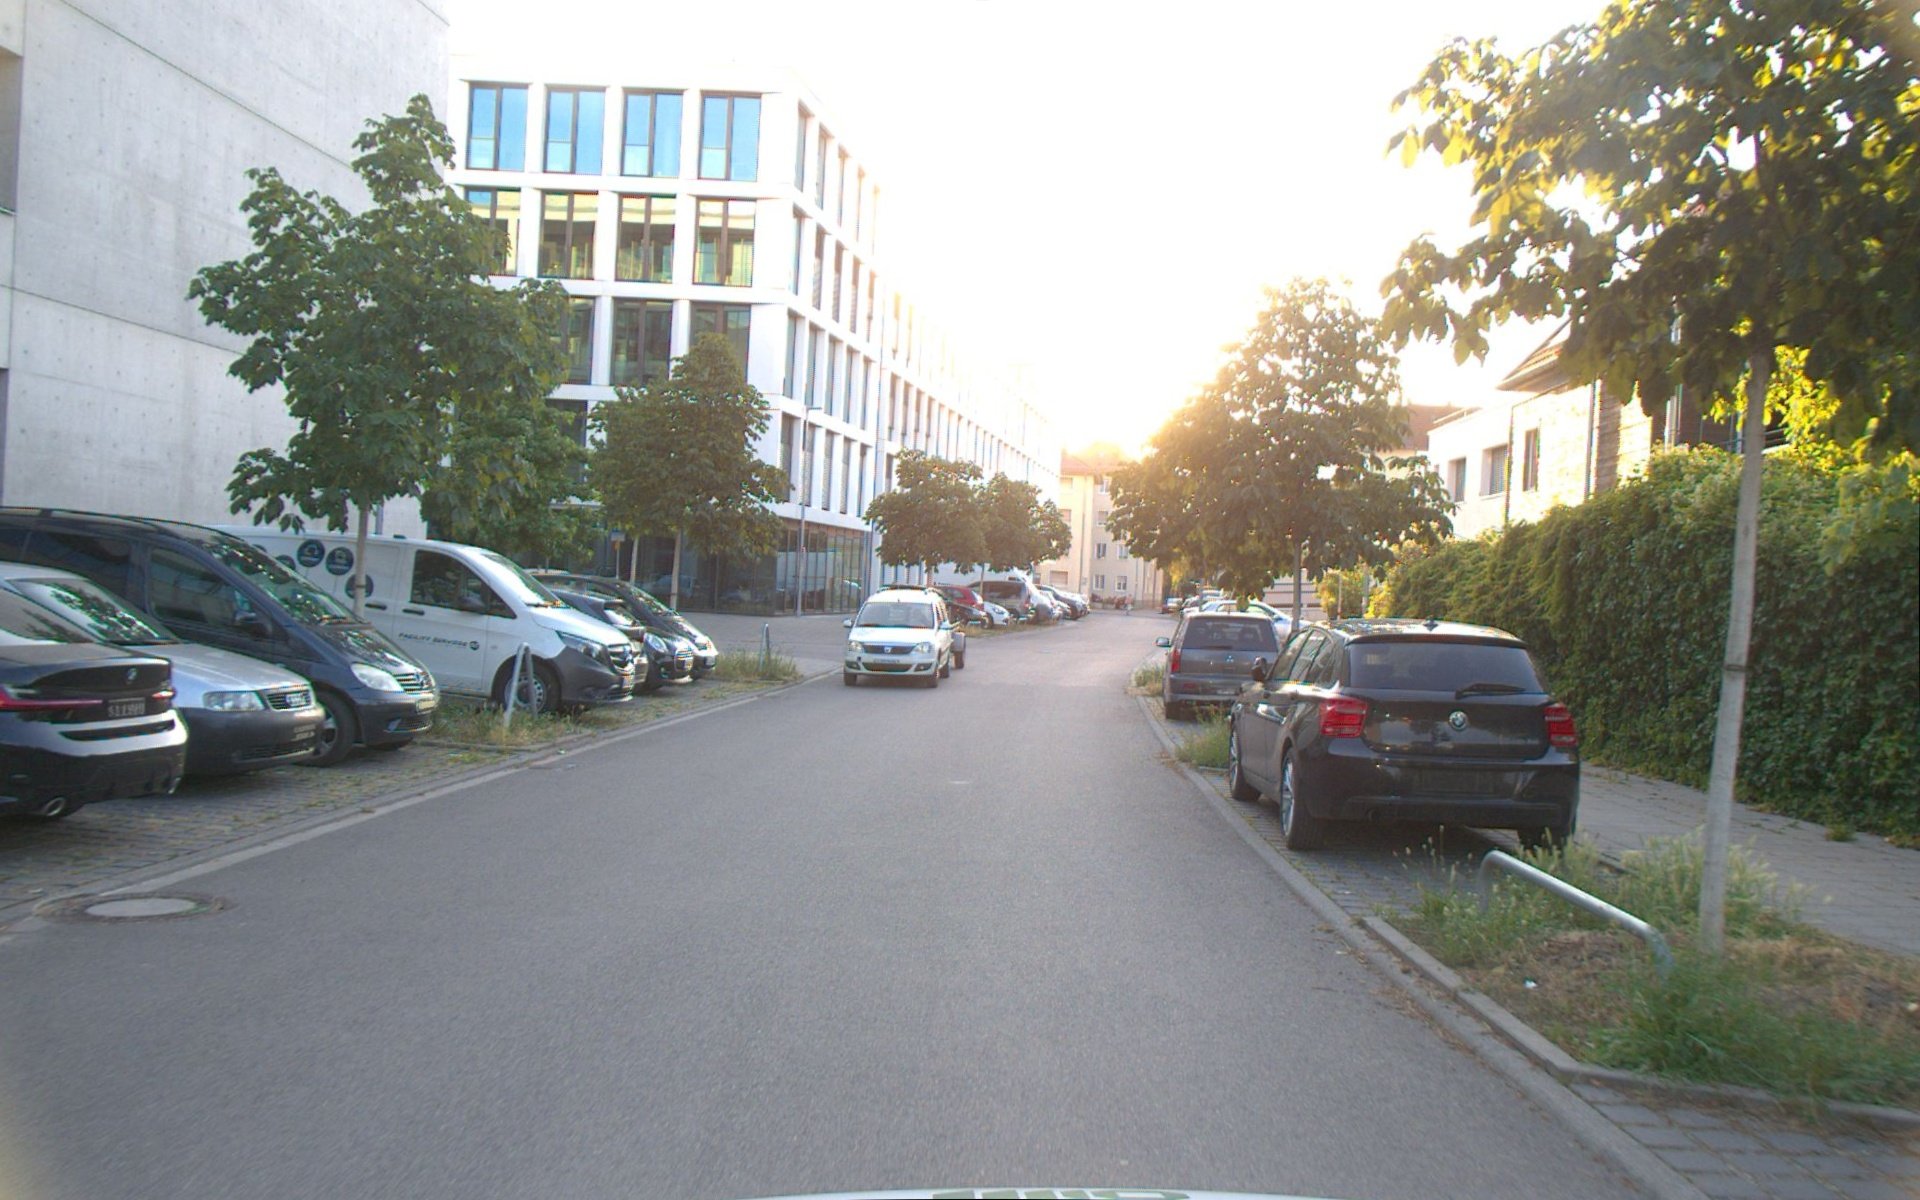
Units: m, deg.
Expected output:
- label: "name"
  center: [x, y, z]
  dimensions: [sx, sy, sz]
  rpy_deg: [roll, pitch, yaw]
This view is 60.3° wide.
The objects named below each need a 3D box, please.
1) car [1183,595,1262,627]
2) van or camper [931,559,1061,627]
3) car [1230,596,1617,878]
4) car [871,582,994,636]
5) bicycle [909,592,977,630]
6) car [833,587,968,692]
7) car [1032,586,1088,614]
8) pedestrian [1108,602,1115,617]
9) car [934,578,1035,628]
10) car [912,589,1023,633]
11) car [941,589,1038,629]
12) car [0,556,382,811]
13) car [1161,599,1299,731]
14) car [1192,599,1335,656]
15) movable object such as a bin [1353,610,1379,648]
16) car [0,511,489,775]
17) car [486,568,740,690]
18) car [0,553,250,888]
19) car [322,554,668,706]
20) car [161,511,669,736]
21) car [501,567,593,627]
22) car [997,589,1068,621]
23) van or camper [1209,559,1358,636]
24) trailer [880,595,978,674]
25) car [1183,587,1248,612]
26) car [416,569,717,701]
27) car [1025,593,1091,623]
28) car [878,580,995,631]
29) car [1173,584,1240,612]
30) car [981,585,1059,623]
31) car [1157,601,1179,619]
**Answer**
- label: "car"
  center: [13.523, 0.545, 85.264]
  dimensions: [3.963, 1.504, 1.769]
  rpy_deg: [1, 1, 10]
- label: "van or camper"
  center: [1.590, -0.334, 72.758]
  dimensions: [5.337, 2.526, 1.777]
  rpy_deg: [4, 2, 10]
- label: "car"
  center: [2.987, 0.778, 11.547]
  dimensions: [1.657, 1.536, 4.194]
  rpy_deg: [2, 0, 3]
- label: "car"
  center: [-0.935, 0.301, 57.668]
  dimensions: [3.965, 1.504, 1.769]
  rpy_deg: [4, 2, 7]
- label: "bicycle"
  center: [-0.553, 0.364, 55.520]
  dimensions: [2.132, 1.194, 0.812]
  rpy_deg: [3, 0, 9]
- label: "car"
  center: [-0.999, 0.644, 30.395]
  dimensions: [1.911, 1.715, 4.725]
  rpy_deg: [1, 1, 5]
- label: "car"
  center: [5.627, -0.015, 93.108]
  dimensions: [2.950, 1.446, 1.459]
  rpy_deg: [1, 1, 10]
- label: "pedestrian"
  center: [13.981, 0.877, 152.672]
  dimensions: [0.490, 1.403, 0.455]
  rpy_deg: [2, 0, 7]
- label: "car"
  center: [1.036, 0.104, 67.858]
  dimensions: [3.964, 1.941, 1.737]
  rpy_deg: [1, 1, 6]
- label: "car"
  center: [0.312, 0.407, 62.919]
  dimensions: [3.963, 1.504, 1.769]
  rpy_deg: [1, 1, 10]
- label: "car"
  center: [1.271, 0.378, 70.558]
  dimensions: [3.964, 1.550, 1.737]
  rpy_deg: [1, 1, 6]
- label: "car"
  center: [-6.426, 0.462, 11.542]
  dimensions: [4.060, 1.428, 1.725]
  rpy_deg: [5, 0, 1]
- label: "car"
  center: [3.753, 0.833, 23.608]
  dimensions: [1.687, 1.607, 4.601]
  rpy_deg: [3, 0, 7]
- label: "car"
  center: [8.947, 0.789, 49.021]
  dimensions: [3.964, 1.504, 1.769]
  rpy_deg: [1, 1, 5]
- label: "movable object such as a bin"
  center: [11.570, 0.816, 47.146]
  dimensions: [0.566, 1.028, 0.689]
  rpy_deg: [2, 1, 4]
- label: "car"
  center: [-6.359, 0.298, 13.884]
  dimensions: [4.160, 1.772, 1.725]
  rpy_deg: [5, 0, 1]
- label: "car"
  center: [-5.568, 0.443, 26.725]
  dimensions: [3.559, 1.604, 1.662]
  rpy_deg: [5, 1, 8]
- label: "car"
  center: [-6.410, 0.422, 8.923]
  dimensions: [4.306, 1.525, 1.764]
  rpy_deg: [5, 0, 5]
- label: "car"
  center: [-5.953, 0.377, 21.475]
  dimensions: [3.906, 1.548, 1.606]
  rpy_deg: [5, 0, 1]
- label: "car"
  center: [-6.055, 0.246, 18.780]
  dimensions: [4.972, 1.980, 1.889]
  rpy_deg: [5, 0, 2]
- label: "car"
  center: [-12.269, -0.120, 49.331]
  dimensions: [1.686, 1.511, 3.553]
  rpy_deg: [3, 3, 2]
- label: "car"
  center: [3.717, 0.256, 84.610]
  dimensions: [3.483, 1.504, 1.459]
  rpy_deg: [1, 1, 10]
- label: "van or camper"
  center: [12.634, -0.123, 64.964]
  dimensions: [5.491, 2.838, 2.431]
  rpy_deg: [1, 1, 5]
- label: "trailer"
  center: [-0.606, 0.679, 34.995]
  dimensions: [1.670, 1.372, 3.489]
  rpy_deg: [4, 2, 4]
- label: "car"
  center: [16.254, -0.040, 105.267]
  dimensions: [3.964, 1.504, 1.769]
  rpy_deg: [1, 1, 5]
- label: "car"
  center: [-5.626, 0.478, 23.924]
  dimensions: [3.806, 1.514, 1.652]
  rpy_deg: [5, 1, 3]
- label: "car"
  center: [5.388, 0.414, 90.712]
  dimensions: [3.483, 1.504, 1.459]
  rpy_deg: [1, 1, 10]
- label: "car"
  center: [-0.842, 0.192, 60.592]
  dimensions: [3.964, 1.504, 1.769]
  rpy_deg: [4, 1, 10]
- label: "car"
  center: [16.215, -0.130, 108.840]
  dimensions: [4.250, 1.672, 1.817]
  rpy_deg: [1, 1, 5]
- label: "car"
  center: [2.821, 0.174, 77.540]
  dimensions: [3.483, 1.680, 1.459]
  rpy_deg: [1, 1, 10]
- label: "car"
  center: [19.645, 0.960, 156.210]
  dimensions: [1.909, 1.612, 3.643]
  rpy_deg: [3, 1, 8]
